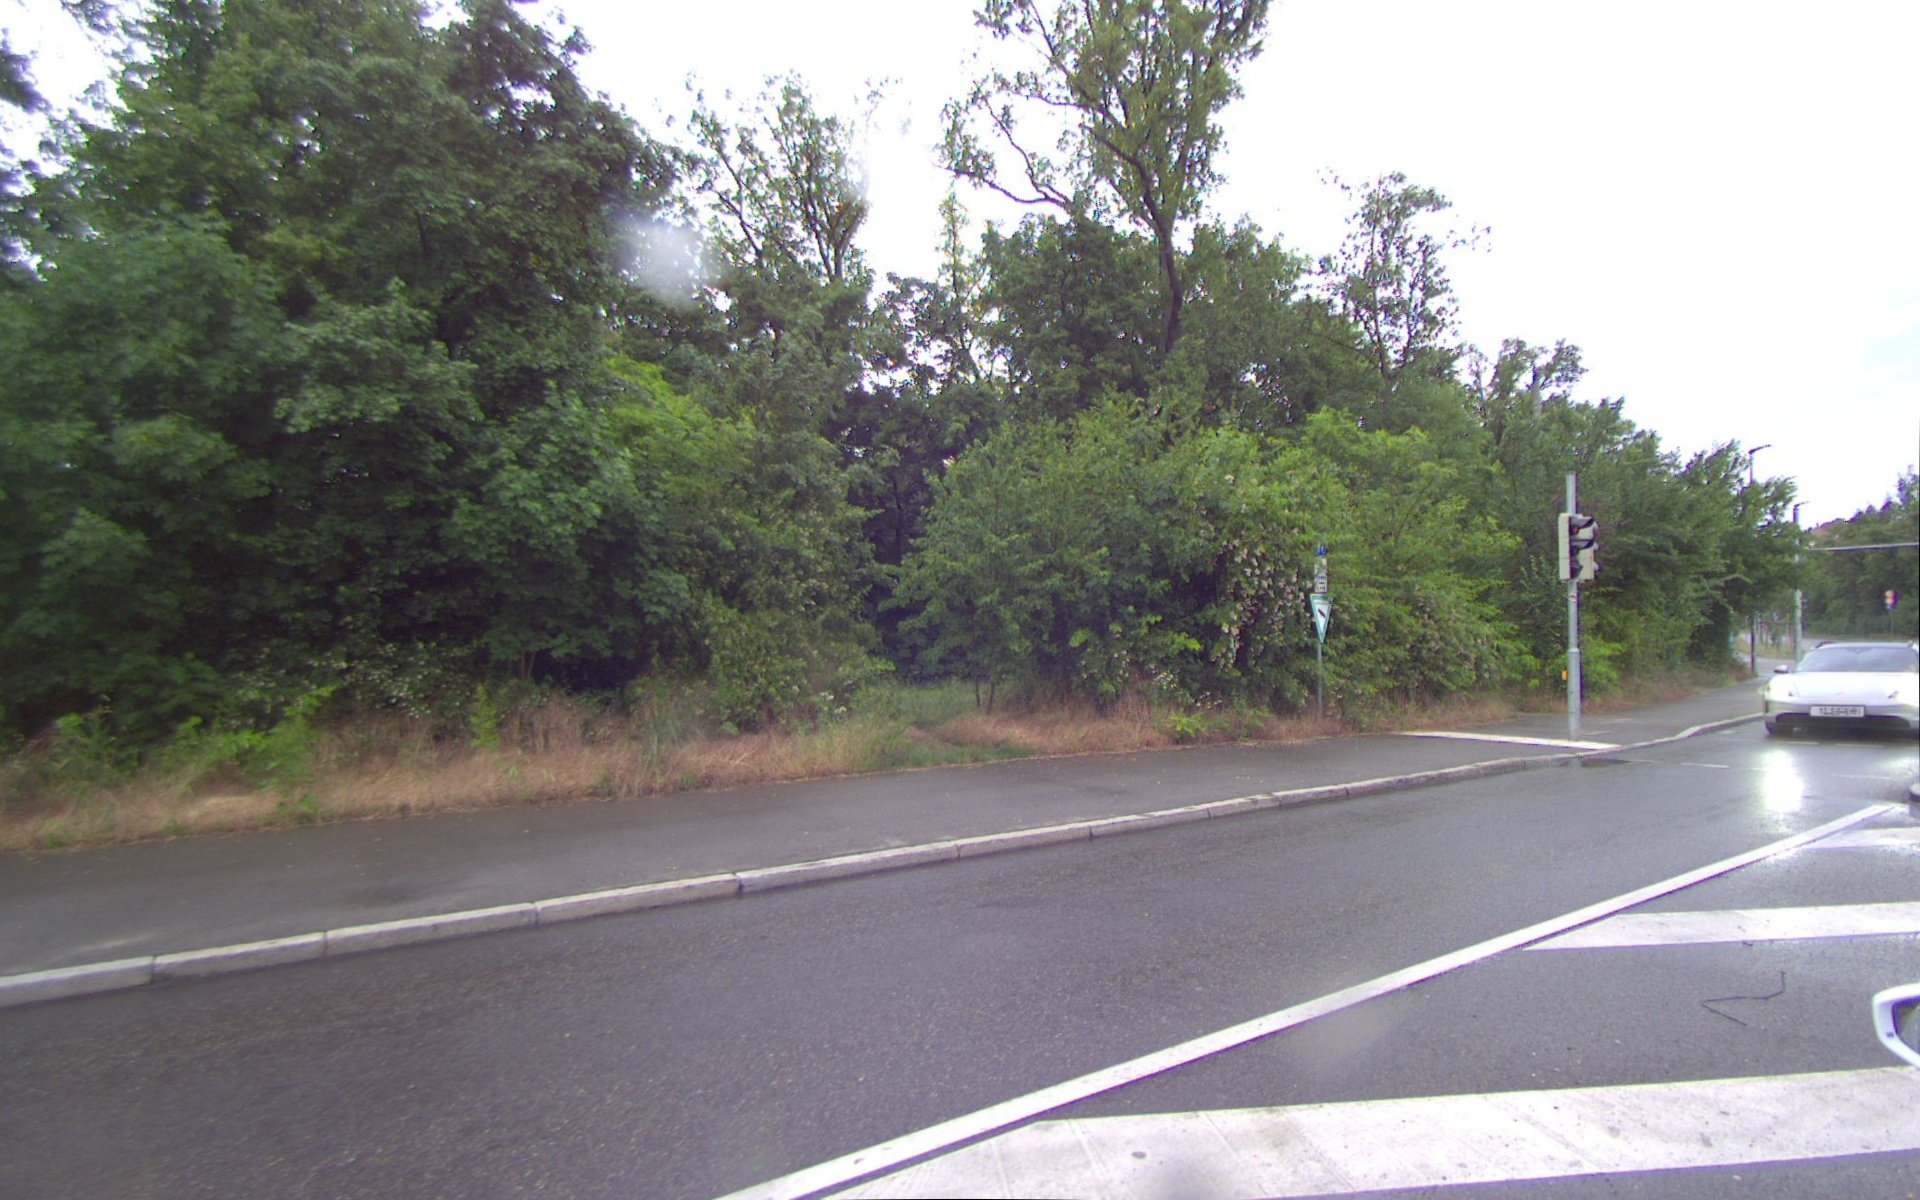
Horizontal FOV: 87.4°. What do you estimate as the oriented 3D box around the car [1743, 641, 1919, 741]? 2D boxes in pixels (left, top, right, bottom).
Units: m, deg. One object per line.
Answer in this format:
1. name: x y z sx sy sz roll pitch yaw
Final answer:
1. car: 14.137 1.351 15.822 4.324 1.328 1.977 1 -4 -41
